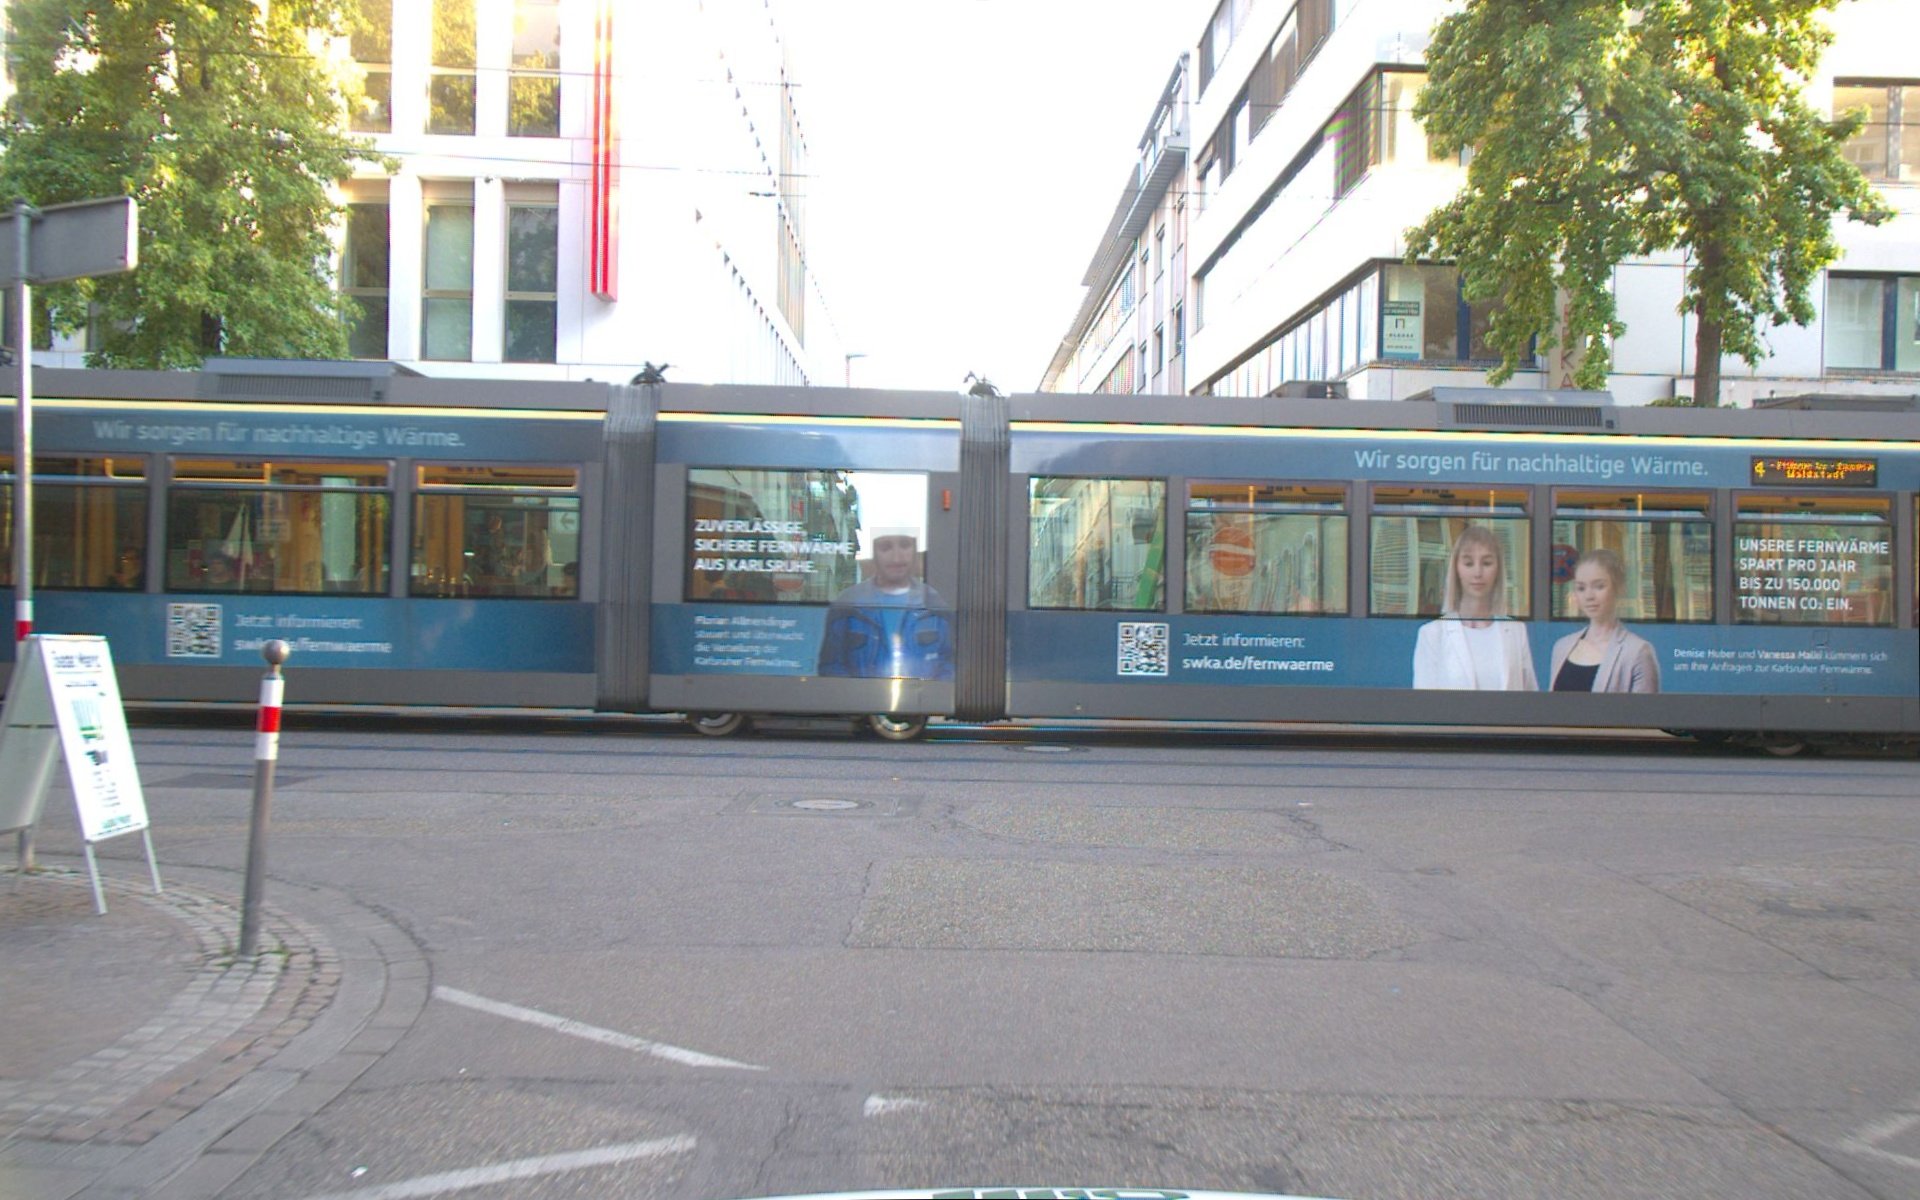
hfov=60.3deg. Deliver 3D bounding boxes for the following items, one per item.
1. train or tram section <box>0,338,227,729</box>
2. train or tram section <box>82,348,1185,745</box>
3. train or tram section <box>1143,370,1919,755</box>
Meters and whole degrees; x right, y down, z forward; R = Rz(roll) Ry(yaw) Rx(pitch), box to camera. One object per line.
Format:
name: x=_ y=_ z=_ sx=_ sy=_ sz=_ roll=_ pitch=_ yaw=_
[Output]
train or tram section: x=-13.360 y=-0.657 z=16.531 sx=10.592 sy=3.585 sz=3.012 roll=1 pitch=0 yaw=-2
train or tram section: x=-3.005 y=-0.473 z=16.873 sx=10.157 sy=3.585 sz=3.016 roll=1 pitch=-1 yaw=-1
train or tram section: x=7.138 y=-0.338 z=17.122 sx=10.126 sy=3.585 sz=3.026 roll=0 pitch=0 yaw=-1
